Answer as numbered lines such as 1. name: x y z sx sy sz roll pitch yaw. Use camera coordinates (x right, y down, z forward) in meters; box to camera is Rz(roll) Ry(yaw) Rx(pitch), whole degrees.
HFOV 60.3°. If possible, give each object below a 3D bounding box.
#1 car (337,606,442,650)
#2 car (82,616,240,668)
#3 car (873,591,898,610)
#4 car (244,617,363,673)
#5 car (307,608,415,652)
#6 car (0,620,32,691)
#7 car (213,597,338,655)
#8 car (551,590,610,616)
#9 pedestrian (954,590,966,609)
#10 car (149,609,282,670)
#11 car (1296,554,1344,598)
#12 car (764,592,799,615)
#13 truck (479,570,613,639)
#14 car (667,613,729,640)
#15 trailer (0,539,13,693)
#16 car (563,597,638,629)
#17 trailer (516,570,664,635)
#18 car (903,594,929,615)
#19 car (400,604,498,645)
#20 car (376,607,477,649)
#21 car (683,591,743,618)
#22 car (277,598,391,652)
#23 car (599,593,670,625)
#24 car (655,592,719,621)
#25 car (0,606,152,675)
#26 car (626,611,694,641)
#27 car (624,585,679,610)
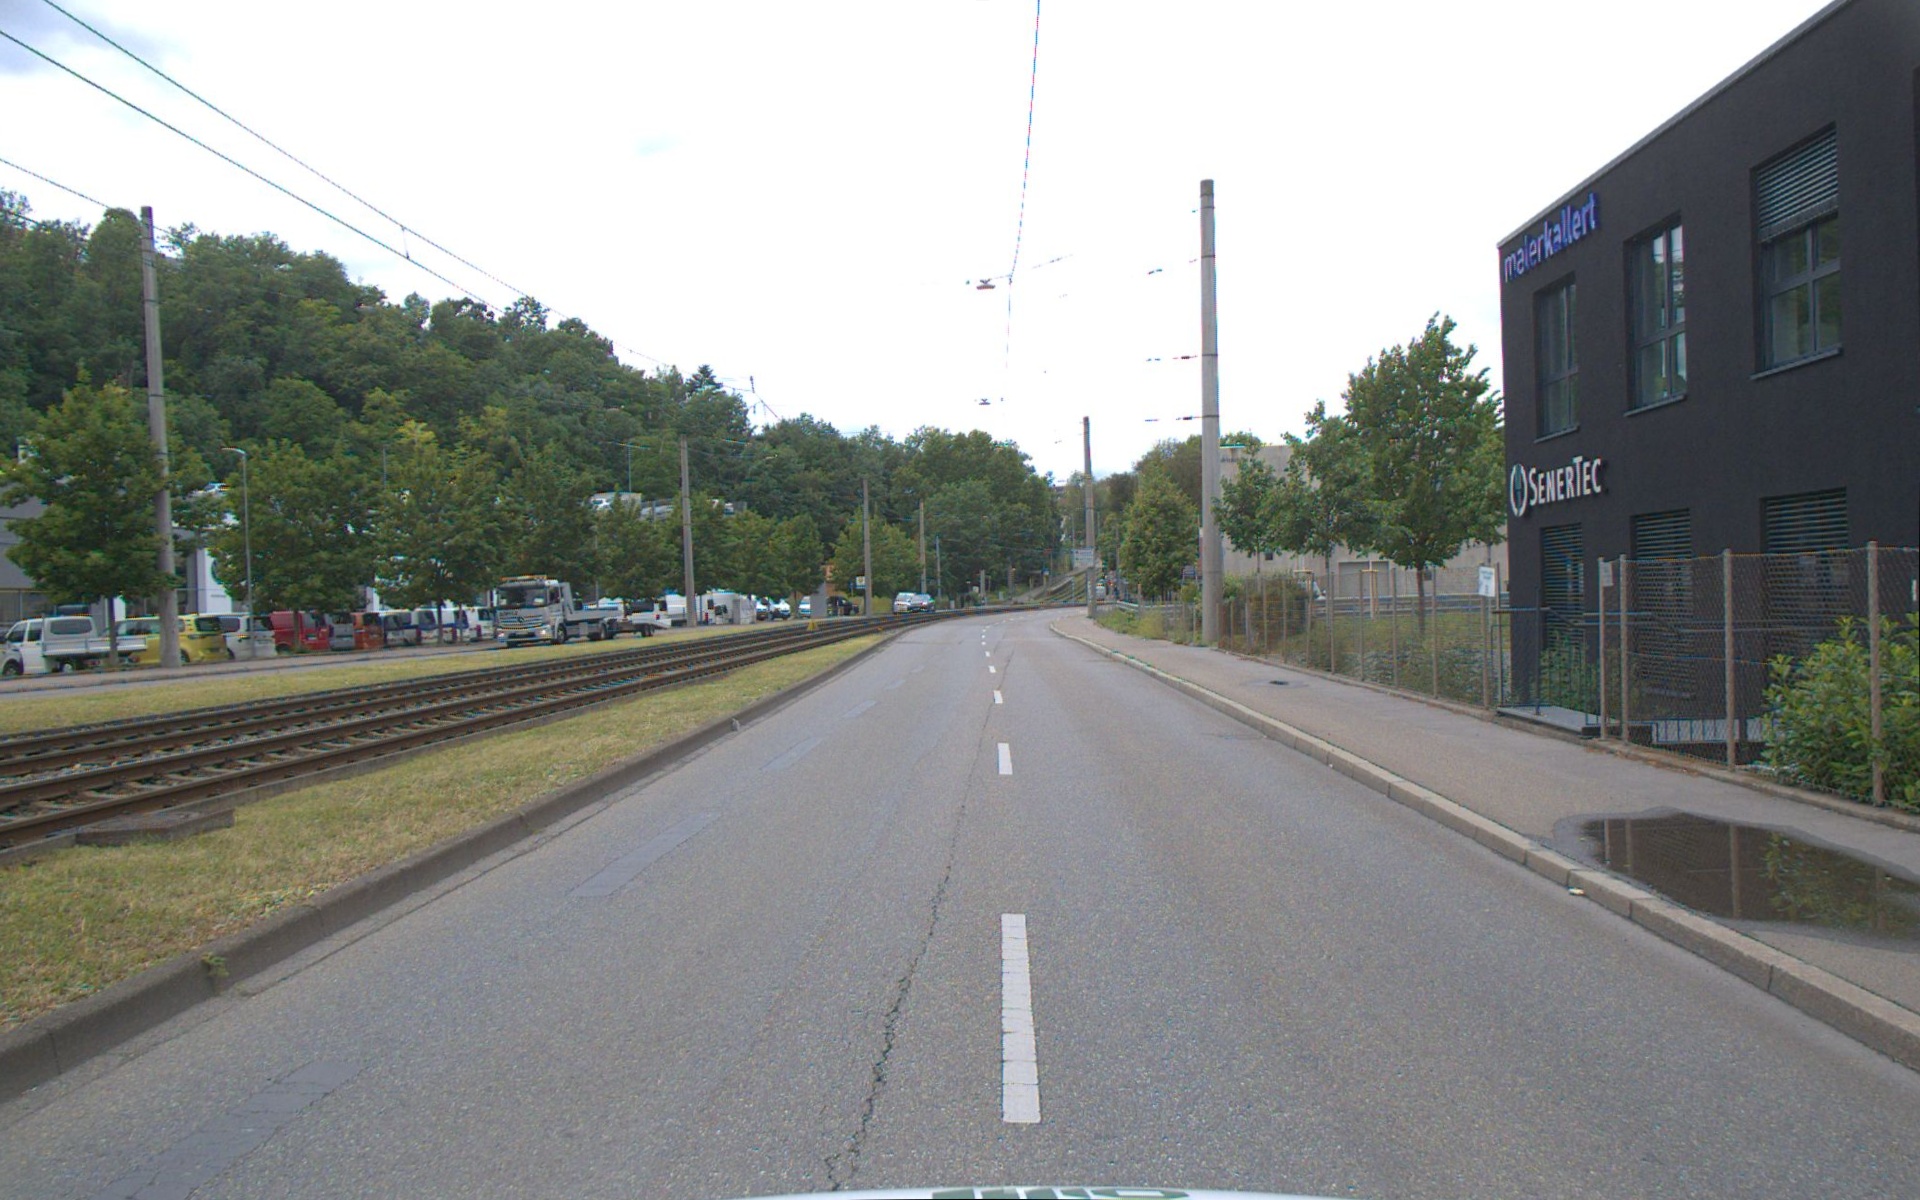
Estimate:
1. car: -25.063 1.233 72.767 3.902 1.735 1.836 -2 1 8
2. car: -27.460 1.450 56.938 4.499 1.602 2.000 -2 -3 3
3. car: -6.732 0.057 150.405 1.952 1.668 4.001 -1 0 2
4. car: -26.032 1.806 65.650 3.903 2.049 2.001 -2 -3 4
5. car: -25.550 1.274 70.577 3.902 1.735 1.835 -2 0 8
6. car: -27.334 1.487 44.441 1.952 1.932 4.611 -2 -3 4
7. car: -26.059 1.011 63.067 3.903 2.049 2.001 -2 -3 4
8. car: -28.316 0.224 123.440 4.051 1.736 1.831 -1 -3 -7
9. pedestrian: 0.035 -0.032 186.034 0.992 2.049 1.146 -2 -4 17
10. car: -26.935 1.441 59.952 3.903 2.049 2.001 -2 -3 4
11. car: 15.009 -1.005 69.115 1.789 1.735 3.809 -2 0 11
12. car: -15.384 0.314 142.758 1.789 1.736 4.145 -2 -3 12
13. truck: -16.906 0.128 68.056 2.821 2.634 6.917 -1 0 9
14. car: -18.468 1.861 116.583 3.902 1.736 1.835 -2 -3 8
15. trailer: -20.549 0.390 27.608 2.832 3.034 10.795 -1 0 3
16. car: -21.350 0.792 98.329 3.902 1.736 1.835 -2 -3 8
17. trailer: -16.145 0.044 73.126 2.830 2.628 10.003 -1 0 9
18. car: -3.644 0.326 138.146 1.952 1.668 4.001 -1 0 2
19. car: -24.081 1.142 77.996 3.902 1.735 1.835 -2 1 8
20. car: -24.316 1.282 75.483 3.902 1.735 1.835 -2 0 8
21. car: -17.925 0.323 119.934 3.902 1.736 1.835 -2 -3 8
22. car: -25.861 1.060 68.391 3.903 2.049 2.001 -2 -3 4
23. car: -20.067 0.557 101.990 3.902 1.736 1.835 -2 -3 8
24. car: -18.515 0.466 112.360 3.902 1.736 1.835 -2 -3 8
25. car: -27.467 1.292 51.228 4.503 1.932 1.999 -3 -4 24
26. car: -19.425 1.710 107.317 3.902 1.735 1.836 -2 1 8
27. car: -24.176 -0.189 129.682 4.051 1.736 1.831 -1 -3 -7
